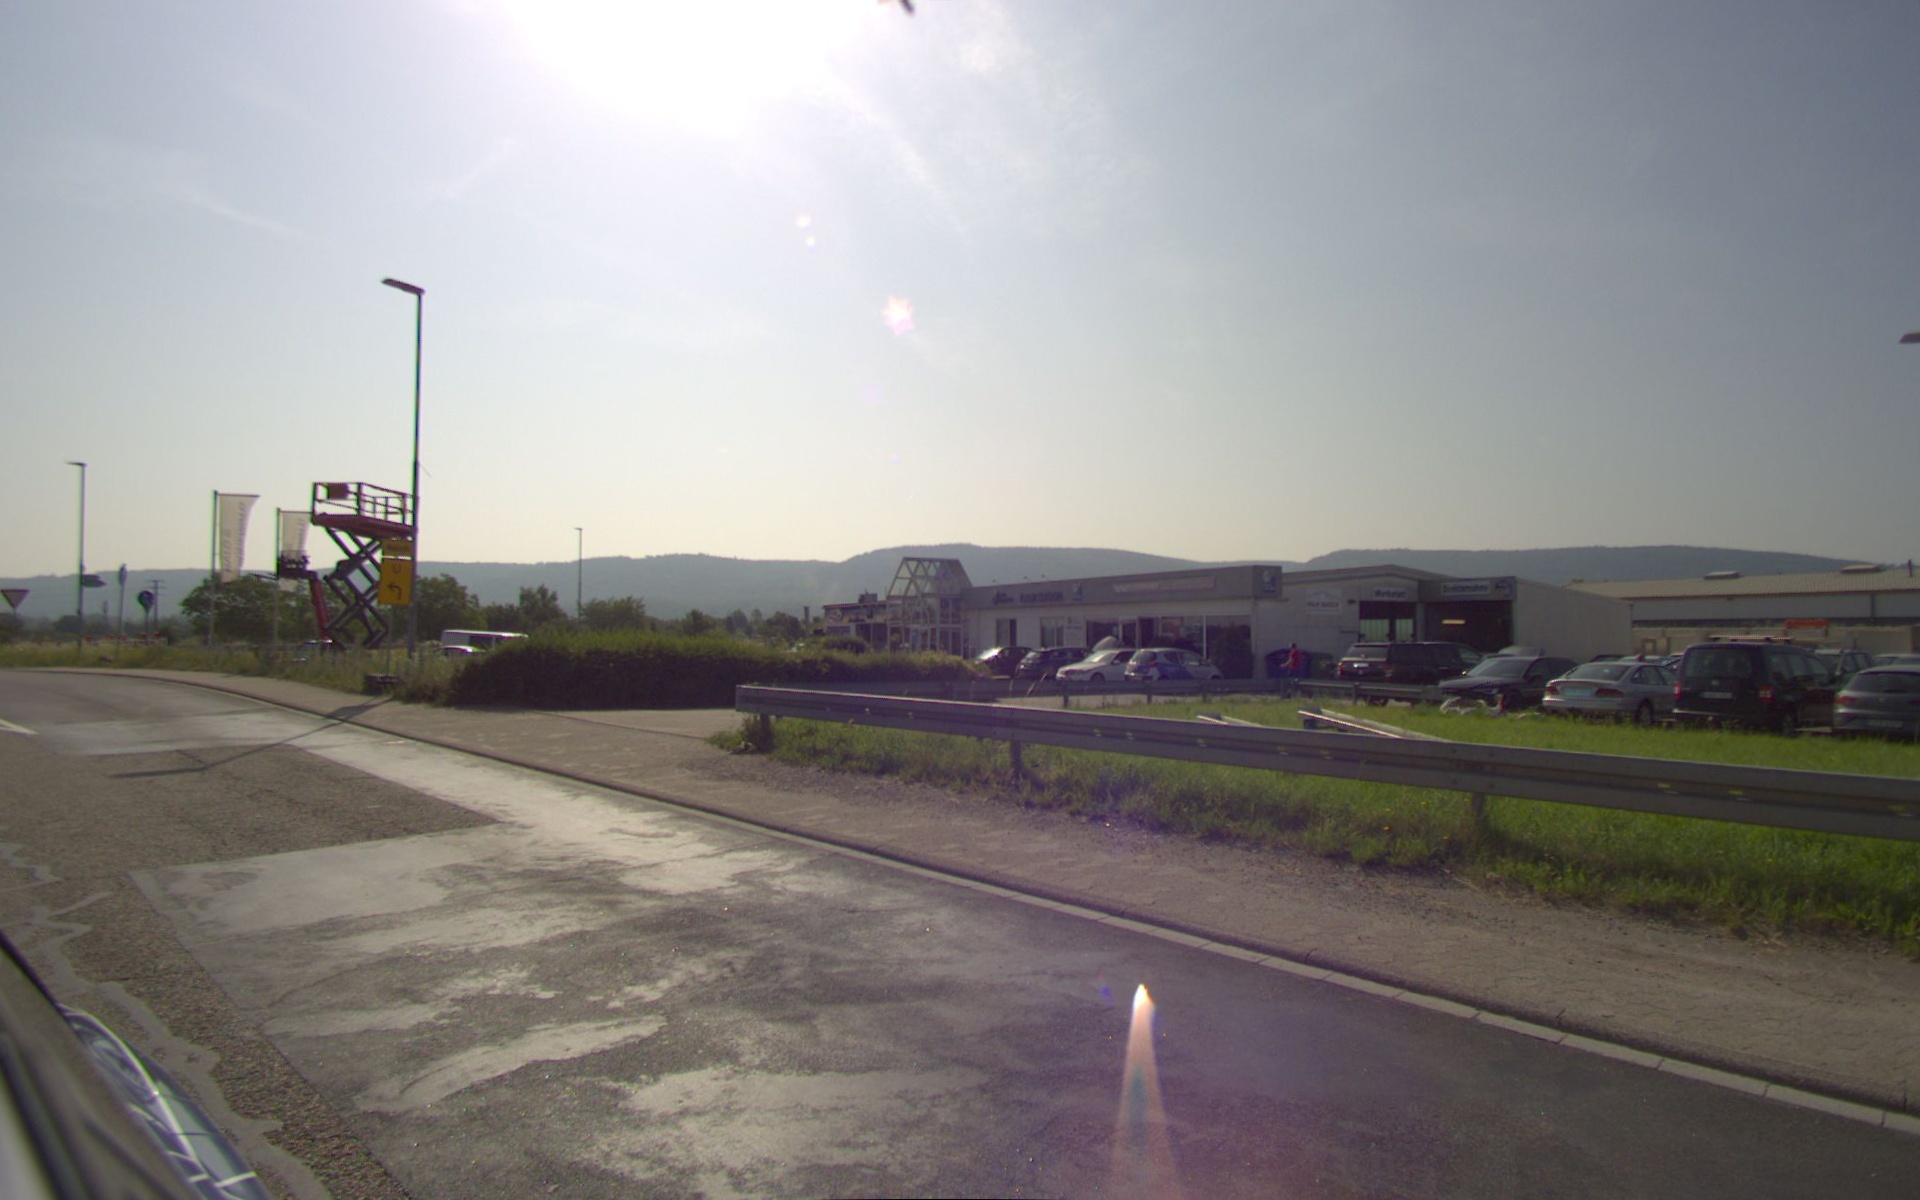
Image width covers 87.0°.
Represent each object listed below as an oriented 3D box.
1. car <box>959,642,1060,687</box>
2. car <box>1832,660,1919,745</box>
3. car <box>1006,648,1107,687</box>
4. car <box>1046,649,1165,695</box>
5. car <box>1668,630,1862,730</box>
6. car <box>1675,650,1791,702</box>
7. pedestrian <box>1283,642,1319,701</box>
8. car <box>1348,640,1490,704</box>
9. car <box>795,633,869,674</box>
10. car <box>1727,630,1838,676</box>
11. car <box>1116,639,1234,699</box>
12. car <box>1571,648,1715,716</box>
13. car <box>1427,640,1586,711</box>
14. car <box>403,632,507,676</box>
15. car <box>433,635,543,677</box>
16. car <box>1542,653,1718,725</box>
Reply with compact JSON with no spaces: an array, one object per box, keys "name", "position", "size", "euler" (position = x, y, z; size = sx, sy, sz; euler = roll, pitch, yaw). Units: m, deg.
[{"name":"car","position":[2.194,2.857,44.862],"size":[4.026,1.887,1.822],"euler":[2,-3,-23]},{"name":"car","position":[16.634,1.704,17.115],"size":[3.694,1.318,1.812],"euler":[3,-3,-32]},{"name":"car","position":[3.816,2.662,39.869],"size":[3.604,1.475,1.769],"euler":[3,-3,-31]},{"name":"car","position":[5.346,2.615,36.954],"size":[4.087,1.547,1.888],"euler":[3,-4,-33]},{"name":"car","position":[15.523,1.507,19.493],"size":[3.694,1.764,1.754],"euler":[3,-3,-32]},{"name":"car","position":[22.881,2.222,29.940],"size":[3.488,1.445,1.573],"euler":[3,-3,-32]},{"name":"pedestrian","position":[10.589,2.208,31.446],"size":[0.983,1.767,0.836],"euler":[-1,0,14]},{"name":"car","position":[11.864,1.841,26.110],"size":[3.626,1.533,1.689],"euler":[3,-4,-34]},{"name":"car","position":[-6.670,2.744,52.569],"size":[1.967,2.029,4.166],"euler":[3,-4,-37]},{"name":"car","position":[27.799,1.803,34.195],"size":[3.604,1.475,1.769],"euler":[3,-3,-31]},{"name":"car","position":[7.451,2.336,35.023],"size":[3.710,1.809,1.938],"euler":[-1,0,-33]},{"name":"car","position":[17.417,2.057,25.796],"size":[3.488,1.624,1.759],"euler":[3,-3,-32]},{"name":"car","position":[13.003,1.766,24.005],"size":[3.933,1.533,1.689],"euler":[3,-4,-34]},{"name":"car","position":[-23.690,2.512,47.569],"size":[4.053,1.952,1.810],"euler":[0,-3,10]},{"name":"car","position":[-23.810,2.809,51.120],"size":[4.765,2.029,1.993],"euler":[0,-3,10]},{"name":"car","position":[14.394,1.871,21.723],"size":[3.694,1.399,1.734],"euler":[3,-3,-32]}]
